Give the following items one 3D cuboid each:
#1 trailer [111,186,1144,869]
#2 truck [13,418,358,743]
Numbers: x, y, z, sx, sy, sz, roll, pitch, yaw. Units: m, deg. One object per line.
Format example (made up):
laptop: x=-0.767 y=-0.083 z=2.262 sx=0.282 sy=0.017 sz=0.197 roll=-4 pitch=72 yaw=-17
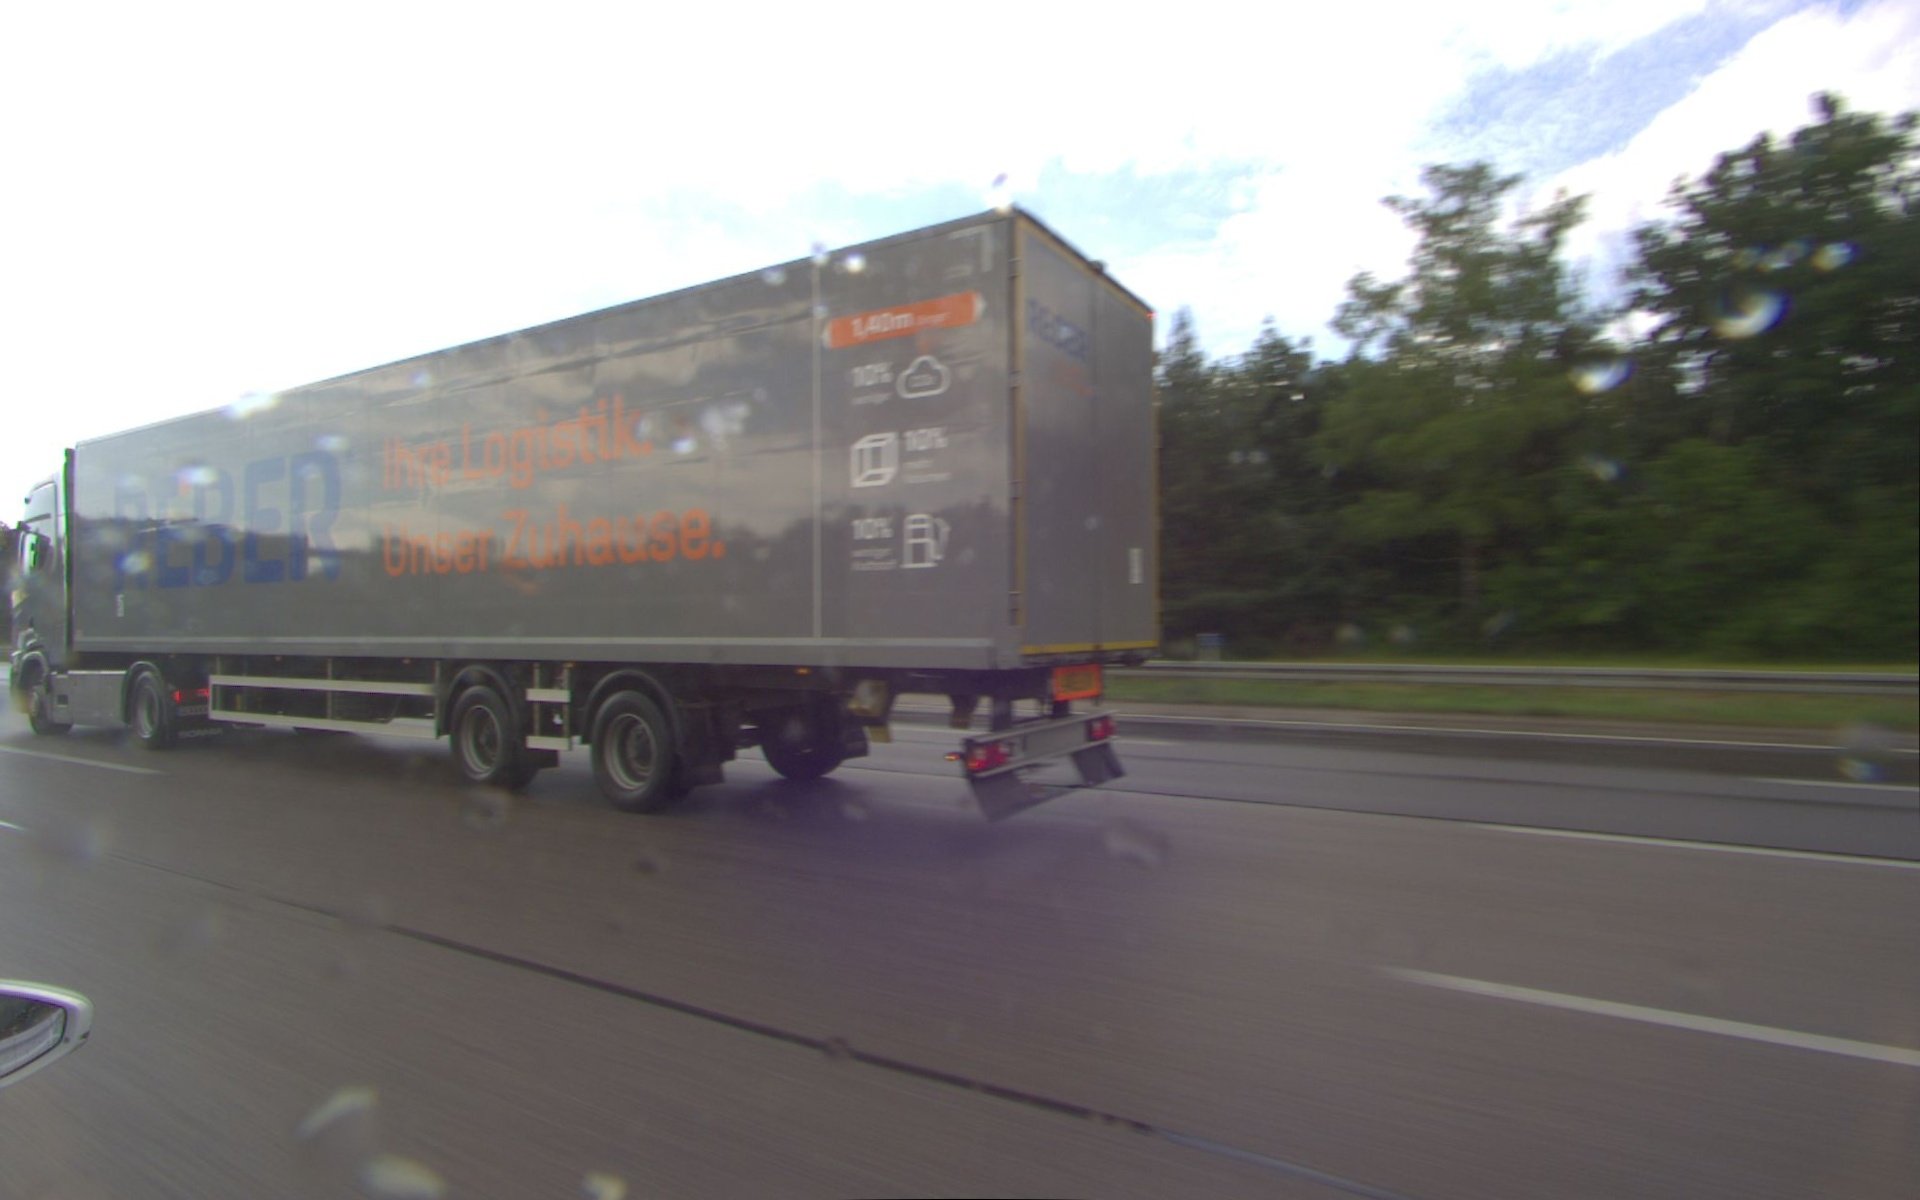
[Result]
trailer: x=-4.751 y=-0.344 z=10.431 sx=13.217 sy=4.053 sz=2.320 roll=-1 pitch=-1 yaw=32
truck: x=-11.274 y=-0.186 z=14.473 sx=5.315 sy=3.918 sz=2.289 roll=0 pitch=-1 yaw=32
